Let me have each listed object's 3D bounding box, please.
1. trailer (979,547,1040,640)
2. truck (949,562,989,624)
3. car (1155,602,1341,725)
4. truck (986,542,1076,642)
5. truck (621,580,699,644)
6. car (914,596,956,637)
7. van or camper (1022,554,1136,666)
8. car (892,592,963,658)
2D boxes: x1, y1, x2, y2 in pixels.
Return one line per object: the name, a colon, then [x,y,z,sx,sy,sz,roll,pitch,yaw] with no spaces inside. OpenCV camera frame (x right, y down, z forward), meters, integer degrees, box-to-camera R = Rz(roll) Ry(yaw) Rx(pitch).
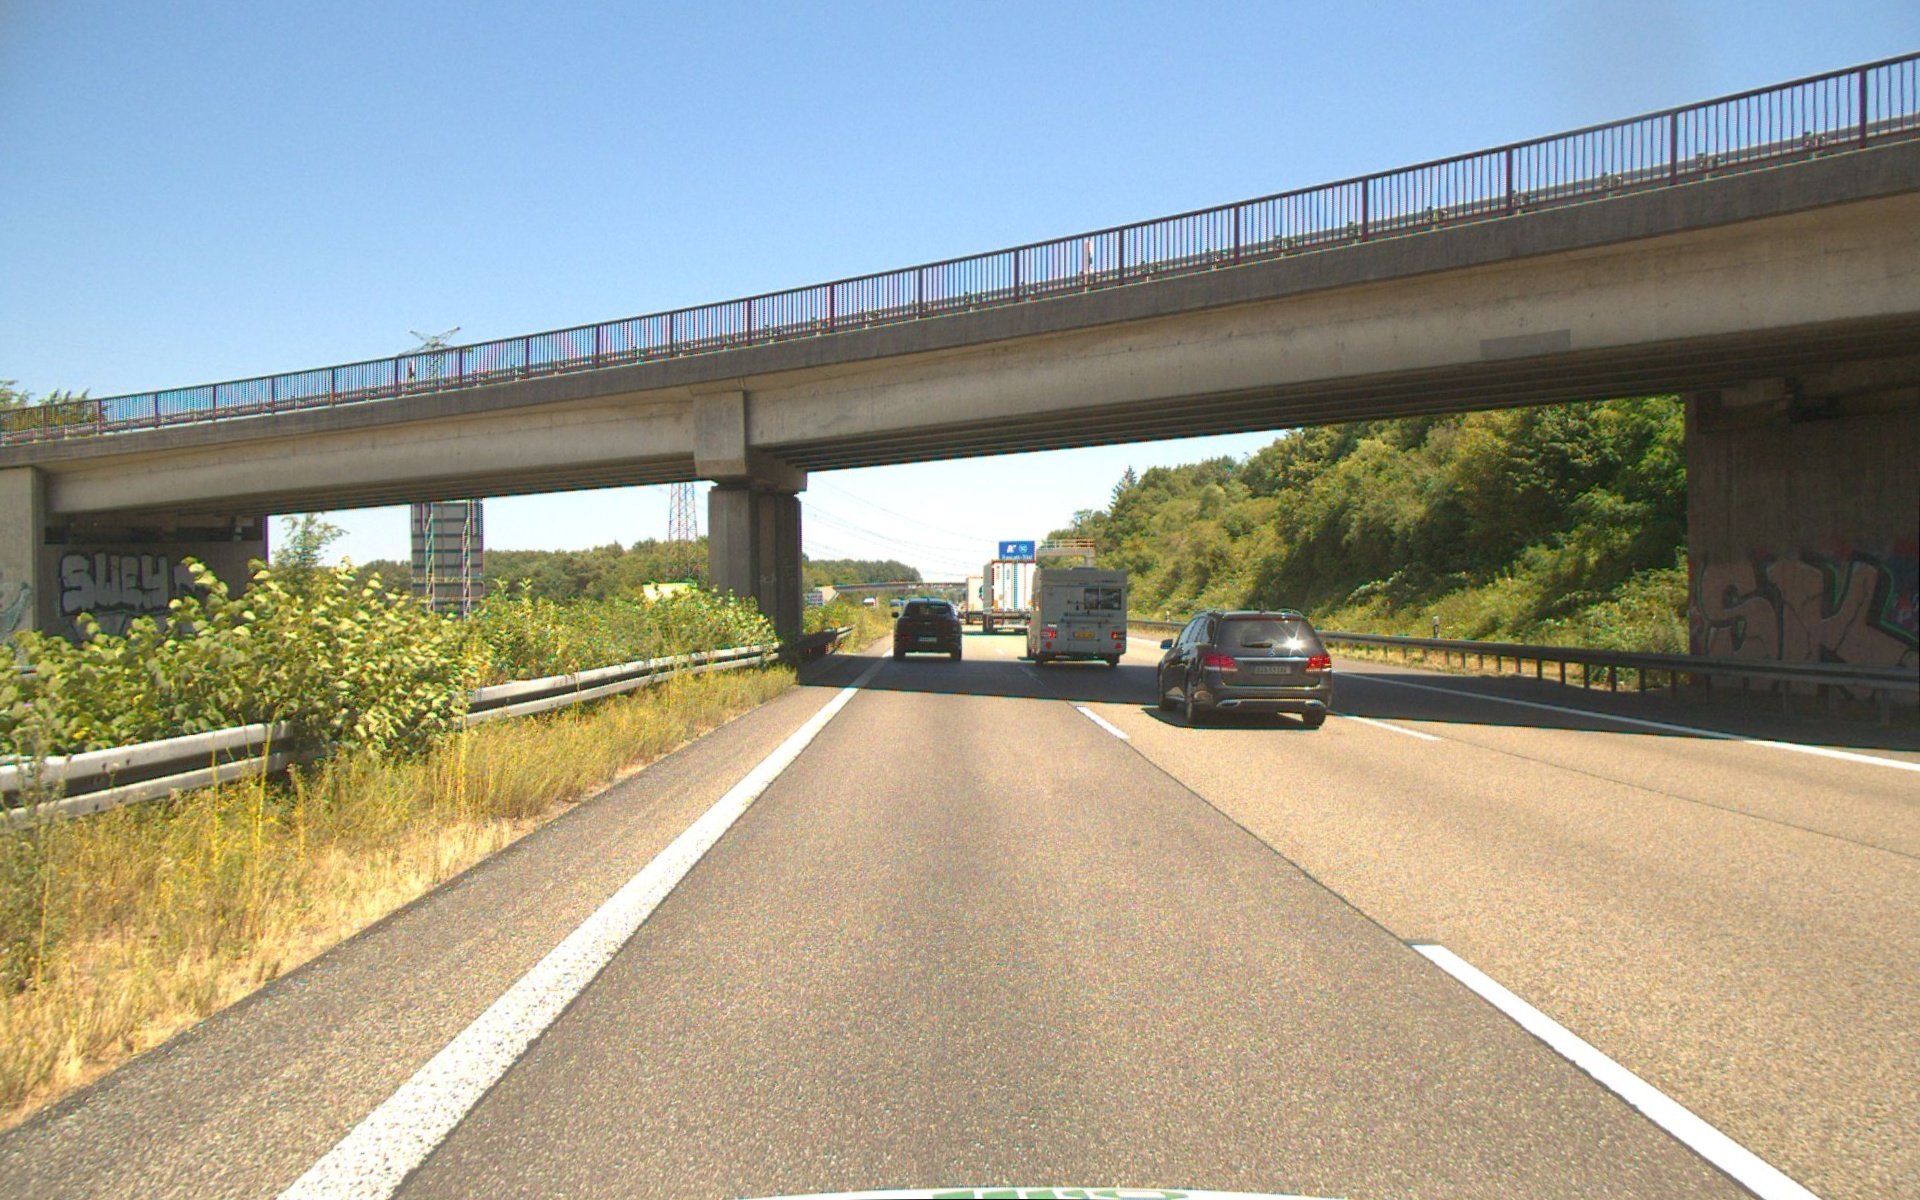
trailer: [2.742,-0.282,95.260,3.024,4.970,12.256,1,-1,0]
truck: [0.729,-0.601,146.208,3.440,5.257,10.257,0,0,0]
car: [3.878,0.791,23.026,1.803,1.532,4.738,0,0,0]
truck: [3.209,-0.268,80.255,3.498,4.319,16.601,1,-1,0]
truck: [-19.240,0.761,106.684,3.440,3.930,8.660,0,0,0]
car: [-1.218,0.744,78.370,1.922,1.846,4.447,-1,0,-2]
van or camper: [3.058,0.241,44.017,2.390,2.721,6.347,-1,0,-2]
car: [-0.954,0.685,47.891,1.953,1.803,3.999,-1,0,-2]
